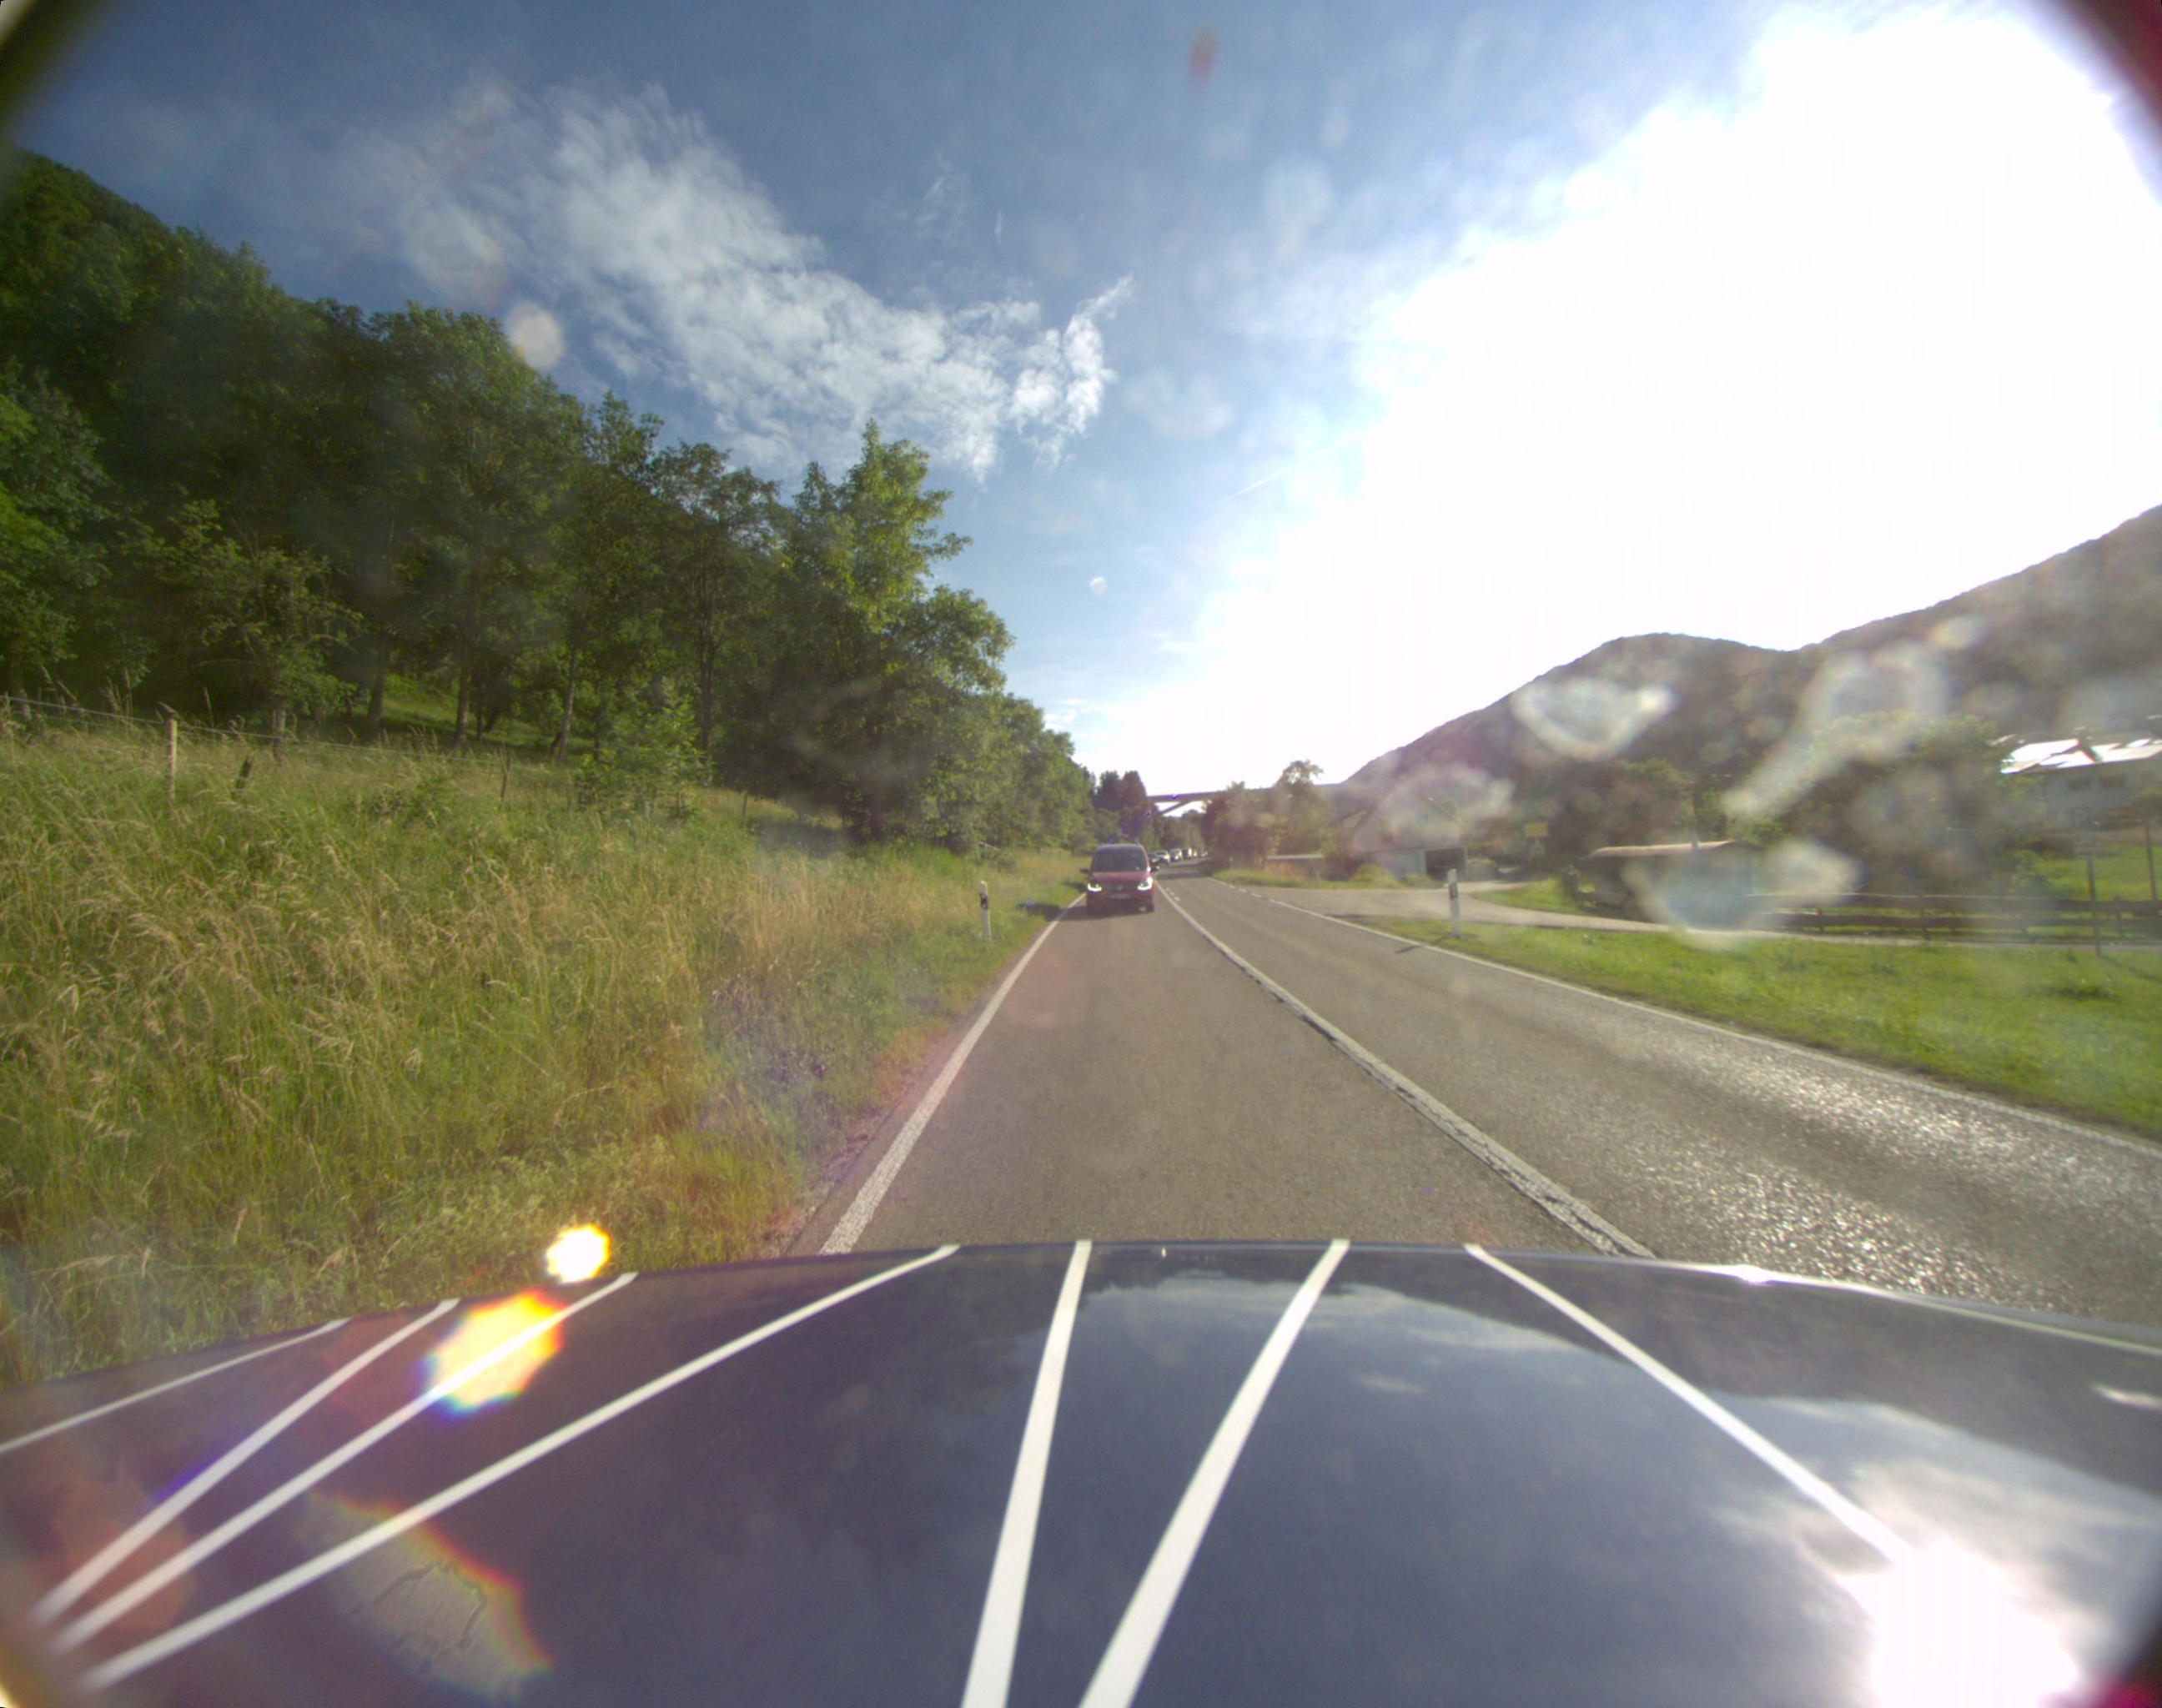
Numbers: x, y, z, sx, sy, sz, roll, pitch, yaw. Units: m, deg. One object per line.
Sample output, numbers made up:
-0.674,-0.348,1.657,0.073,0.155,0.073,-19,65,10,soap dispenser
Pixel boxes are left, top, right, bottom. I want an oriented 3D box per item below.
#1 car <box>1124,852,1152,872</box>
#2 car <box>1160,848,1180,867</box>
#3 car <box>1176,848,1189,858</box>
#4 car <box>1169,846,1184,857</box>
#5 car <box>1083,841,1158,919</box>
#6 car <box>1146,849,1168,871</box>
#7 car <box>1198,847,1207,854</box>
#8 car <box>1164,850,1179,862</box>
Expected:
4.803,0.671,63.909,1.840,1.543,4.180,-1,1,11,car
9.992,0.376,85.219,1.913,2.002,4.003,-1,1,10,car
16.984,-0.136,126.765,1.817,1.608,4.003,-1,1,12,car
14.132,-0.368,112.400,1.817,1.608,4.003,-1,1,11,car
1.052,0.632,20.733,1.772,1.855,3.875,-2,0,2,car
7.524,0.563,74.819,1.913,2.002,4.002,-1,1,9,car
26.964,-0.782,168.738,1.840,1.543,4.181,-1,1,12,car
12.316,0.315,103.157,1.840,1.543,4.180,-1,1,10,car
